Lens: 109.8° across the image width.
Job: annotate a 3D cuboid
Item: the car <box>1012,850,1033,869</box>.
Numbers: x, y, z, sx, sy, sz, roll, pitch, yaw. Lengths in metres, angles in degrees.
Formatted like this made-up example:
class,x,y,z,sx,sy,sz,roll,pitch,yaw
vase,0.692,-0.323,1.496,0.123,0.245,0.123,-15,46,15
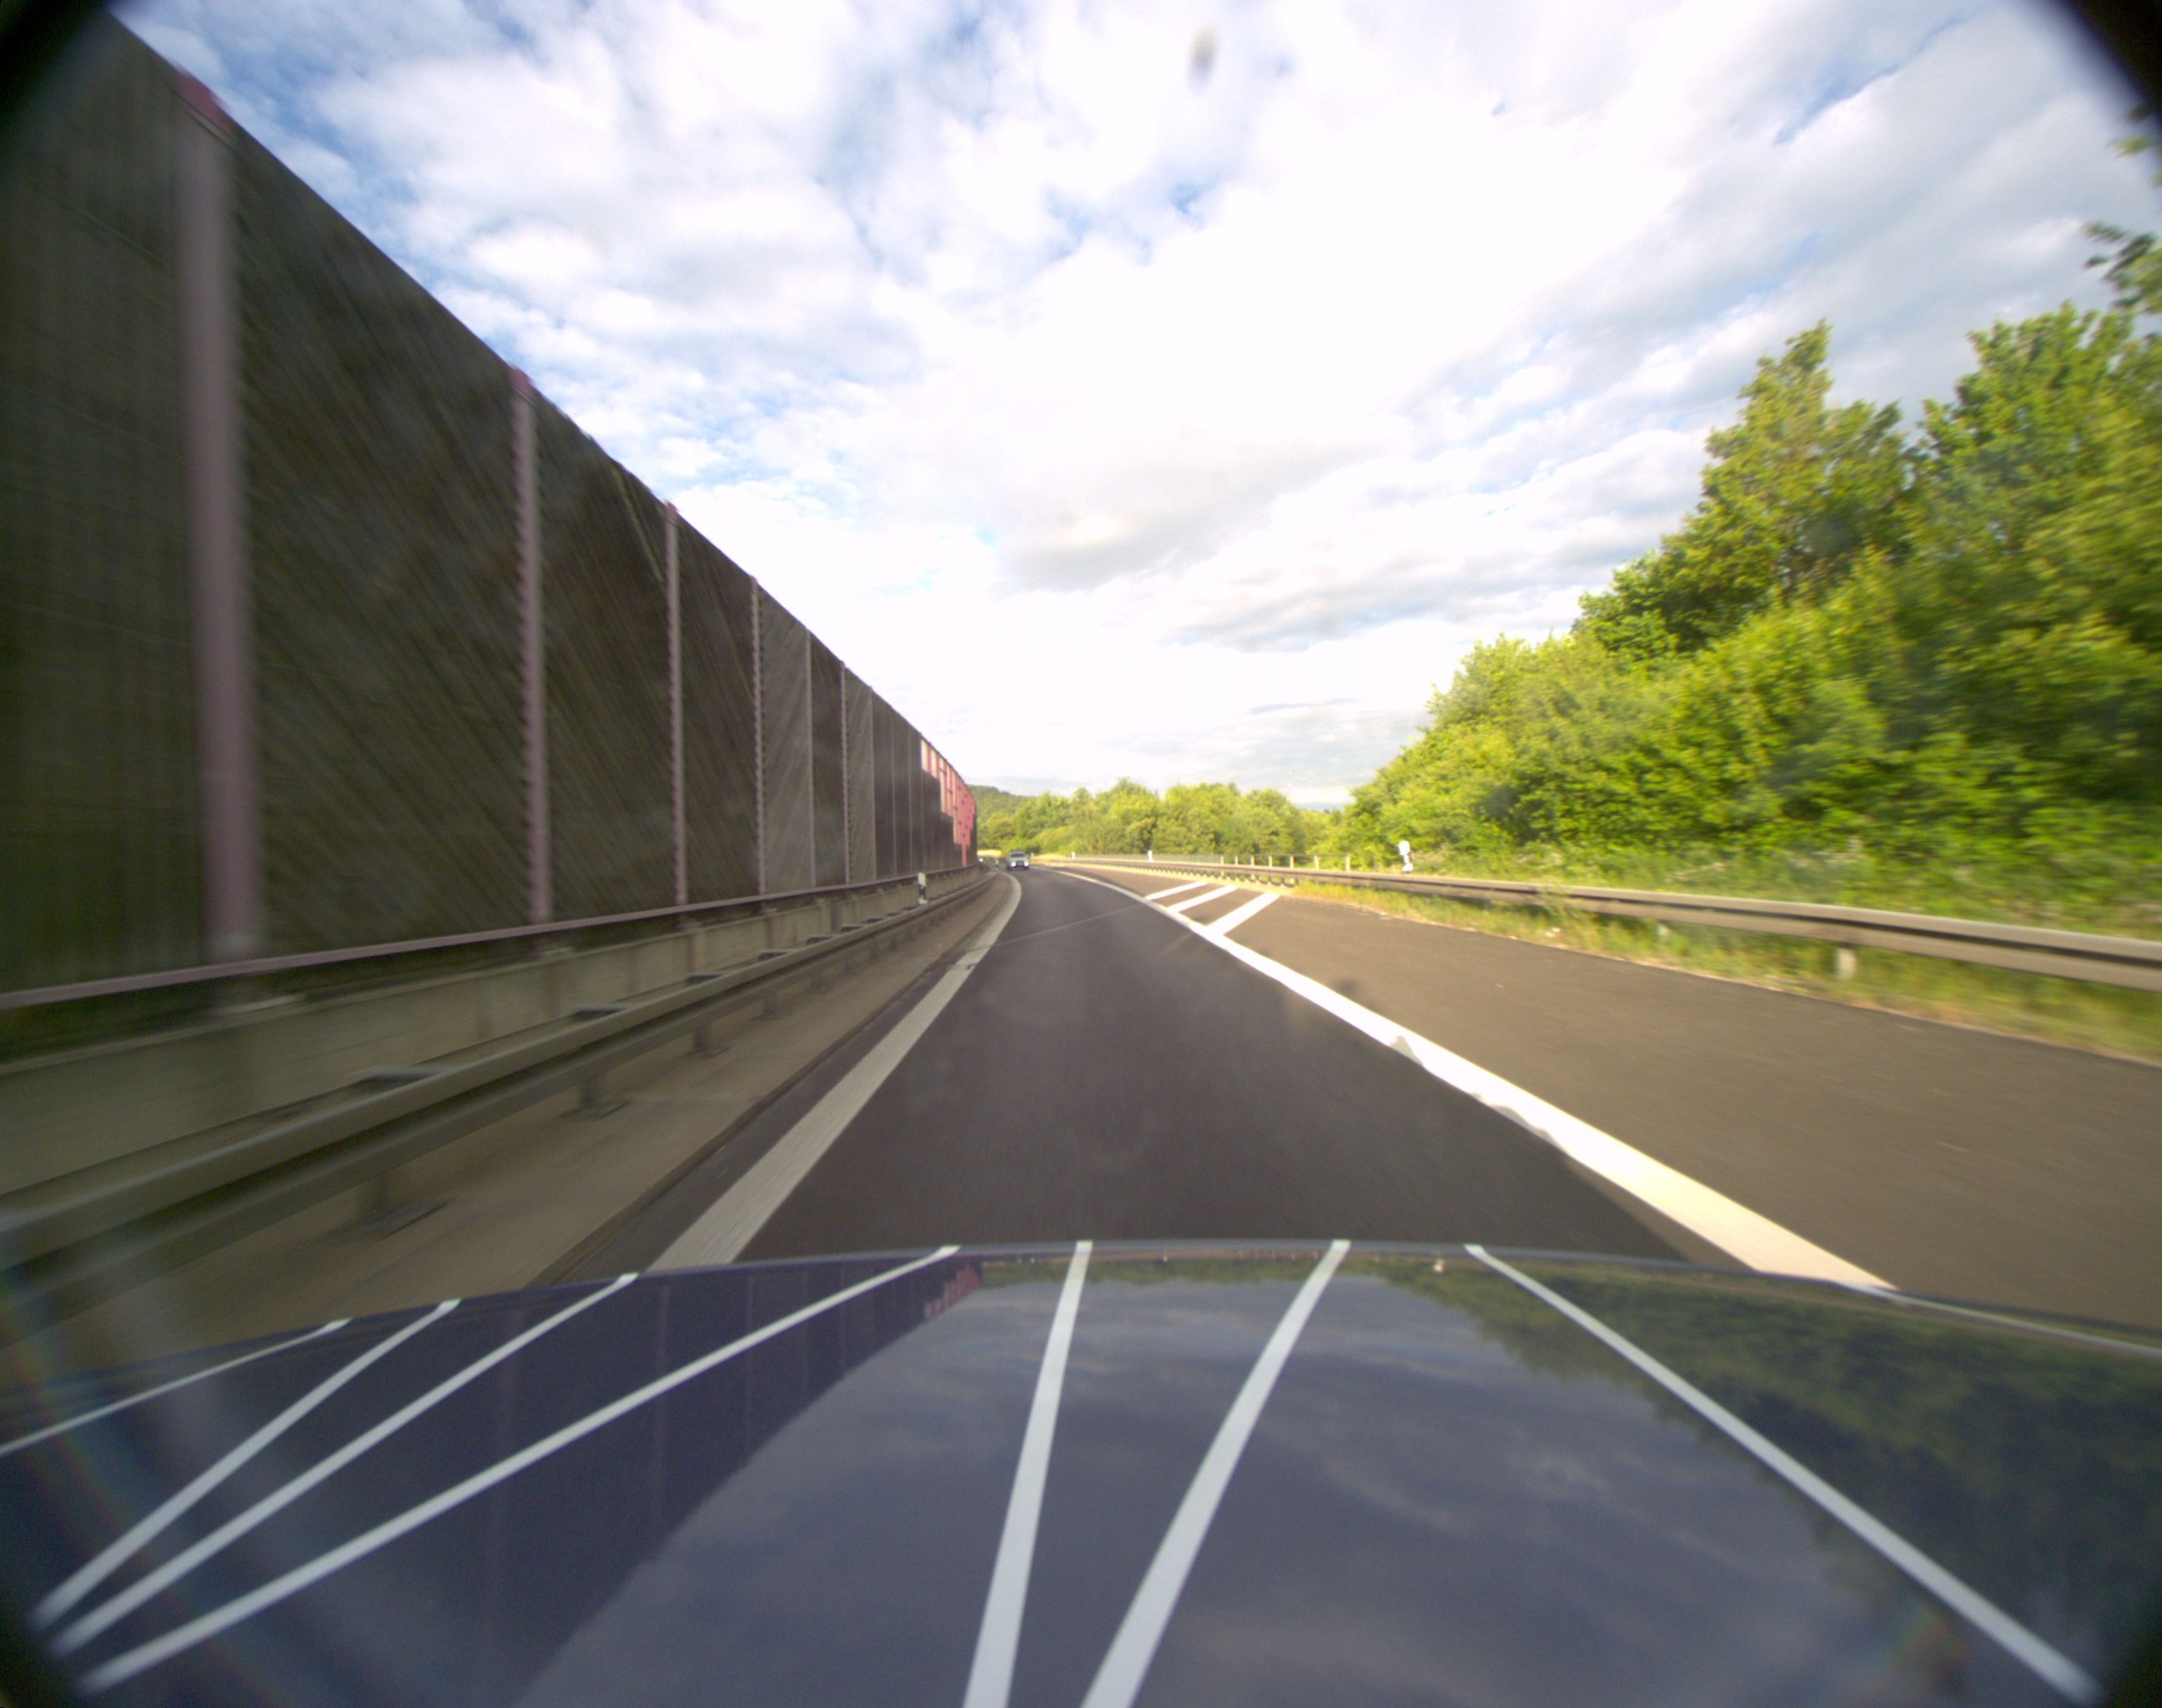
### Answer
class,x,y,z,sx,sy,sz,roll,pitch,yaw
car,-5.650,0.472,73.416,1.905,1.655,3.998,-3,1,-4

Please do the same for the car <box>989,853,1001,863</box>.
class,x,y,z,sx,sy,sz,roll,pitch,yaw
car,-13.097,0.584,115.634,1.620,1.452,3.660,-3,2,-5
